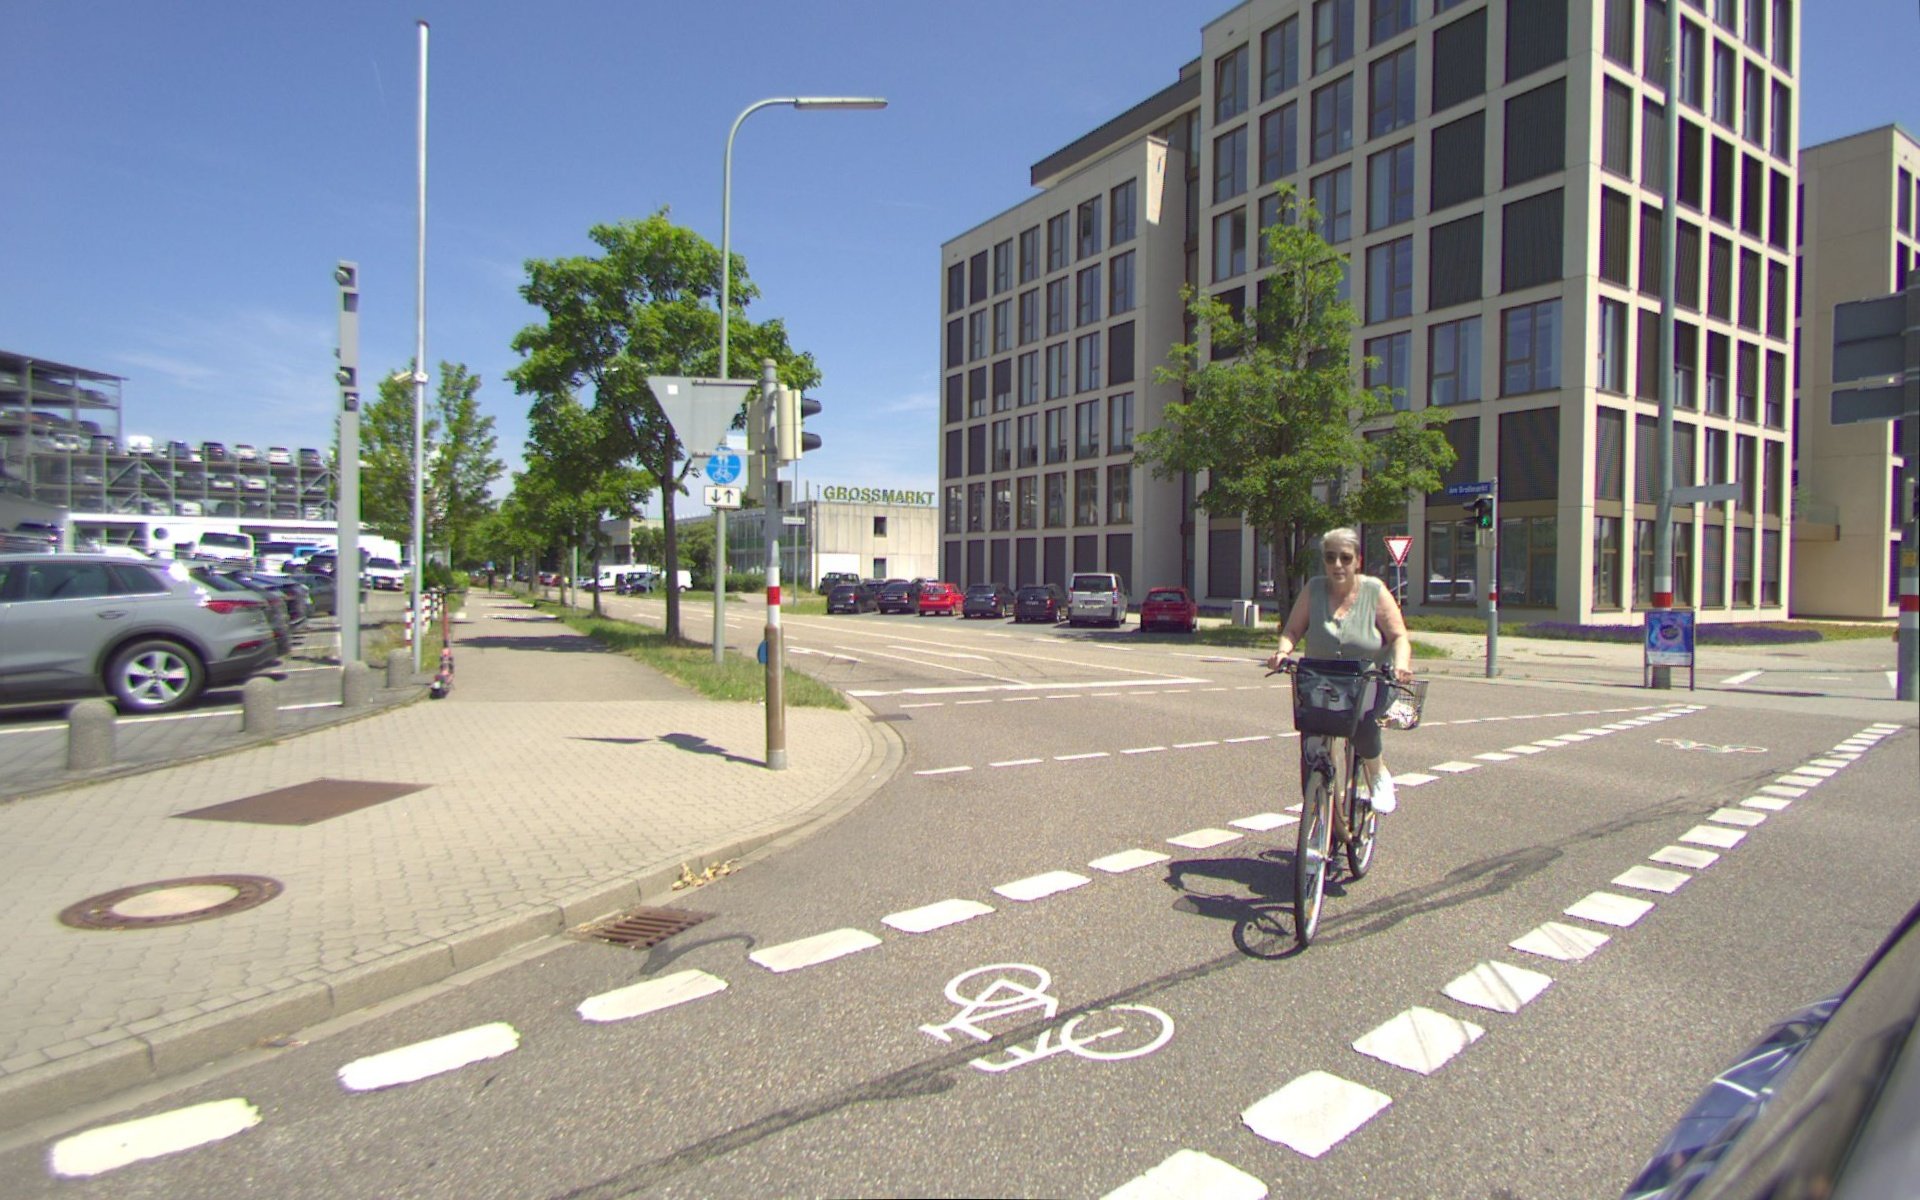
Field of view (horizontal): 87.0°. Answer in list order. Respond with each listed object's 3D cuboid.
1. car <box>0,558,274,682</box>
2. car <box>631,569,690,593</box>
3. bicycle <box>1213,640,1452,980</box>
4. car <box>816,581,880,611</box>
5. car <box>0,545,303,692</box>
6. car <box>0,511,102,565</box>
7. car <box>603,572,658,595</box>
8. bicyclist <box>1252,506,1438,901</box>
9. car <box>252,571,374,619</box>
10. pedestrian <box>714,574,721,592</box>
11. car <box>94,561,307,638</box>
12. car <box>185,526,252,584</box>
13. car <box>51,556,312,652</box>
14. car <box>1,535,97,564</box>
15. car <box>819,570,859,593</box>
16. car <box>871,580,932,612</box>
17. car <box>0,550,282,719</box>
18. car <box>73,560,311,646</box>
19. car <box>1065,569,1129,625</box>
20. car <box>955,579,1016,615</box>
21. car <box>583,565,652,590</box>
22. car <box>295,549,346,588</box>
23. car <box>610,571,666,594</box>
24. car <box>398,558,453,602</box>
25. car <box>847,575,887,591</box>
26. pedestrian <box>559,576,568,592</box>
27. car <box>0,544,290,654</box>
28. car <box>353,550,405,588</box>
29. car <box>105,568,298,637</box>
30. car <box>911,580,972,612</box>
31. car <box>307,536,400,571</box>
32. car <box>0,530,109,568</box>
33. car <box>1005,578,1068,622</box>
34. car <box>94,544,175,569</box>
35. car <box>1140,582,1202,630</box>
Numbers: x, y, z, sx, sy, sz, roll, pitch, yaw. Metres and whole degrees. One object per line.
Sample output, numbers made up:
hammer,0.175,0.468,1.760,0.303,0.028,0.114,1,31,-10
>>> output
car,-12.592,0.277,15.023,3.924,1.675,1.849,-1,-1,-37
car,-25.705,-1.618,86.823,4.486,2.039,2.001,0,-1,-32
bicycle,1.791,0.808,4.672,0.625,1.147,1.872,1,1,33
car,-5.396,-0.223,49.097,1.891,1.349,3.985,1,1,13
car,-10.717,0.219,12.803,3.918,1.675,1.852,-1,-1,-30
car,-31.678,-2.096,35.259,1.875,1.728,4.595,0,1,-29
car,-30.725,-1.547,94.439,4.486,2.039,2.001,0,-1,-32
bicyclist,1.798,0.425,4.690,0.625,1.626,0.815,-1,-1,34
car,-22.338,-0.234,35.146,1.812,1.490,4.624,1,2,-8
pedestrian,-21.020,-1.498,87.707,0.397,1.579,0.550,0,1,-31
car,-17.894,-0.043,24.021,3.924,1.675,1.850,-1,1,-37
car,-27.816,-1.648,38.101,1.877,1.991,5.254,0,1,-35
car,-14.785,0.044,19.445,3.839,1.675,1.633,-1,0,-37
car,-57.631,-3.163,64.142,4.274,1.673,1.914,0,1,-34
car,-9.541,-1.425,79.623,1.760,1.750,4.003,0,0,-30
car,-2.741,-0.222,48.140,1.846,1.392,3.985,1,1,13
car,-9.549,0.297,10.188,4.415,1.577,1.876,-2,3,-32
car,-16.332,0.058,21.734,3.924,1.675,1.849,-1,-1,-37
car,5.113,-0.140,37.239,1.891,1.910,4.914,1,1,13
car,1.146,-0.179,43.366,1.891,1.457,3.985,1,1,13
car,-35.967,-2.375,106.352,6.561,2.553,2.221,0,-1,-30
car,-30.728,-1.473,48.597,1.962,1.727,4.000,0,0,-34
car,-29.311,-1.568,92.093,4.486,2.039,2.001,0,-1,-32
car,-22.099,-0.829,41.766,1.875,1.715,4.595,0,1,-29
car,-7.538,-1.363,81.439,1.662,1.171,4.003,0,0,-30
pedestrian,-42.844,-1.772,109.350,0.856,1.697,0.758,0,1,-28
car,-13.479,0.002,16.874,3.747,1.637,1.641,1,0,-37
car,-28.801,-1.489,50.140,1.962,1.727,4.000,0,0,-34
car,-19.685,0.060,26.427,3.924,1.675,1.849,-1,-1,-37
car,-0.787,-0.204,45.882,1.891,1.370,3.985,1,1,13
car,-34.789,-2.643,58.119,4.501,1.910,1.914,0,1,-34
car,-47.313,-2.615,52.589,4.498,1.819,1.915,0,1,-31
car,3.052,-0.055,39.767,1.891,1.609,3.985,1,1,13
car,-59.213,-3.109,72.695,4.272,1.673,1.915,0,1,-32
car,7.160,0.157,34.093,1.677,1.450,3.978,0,2,18
